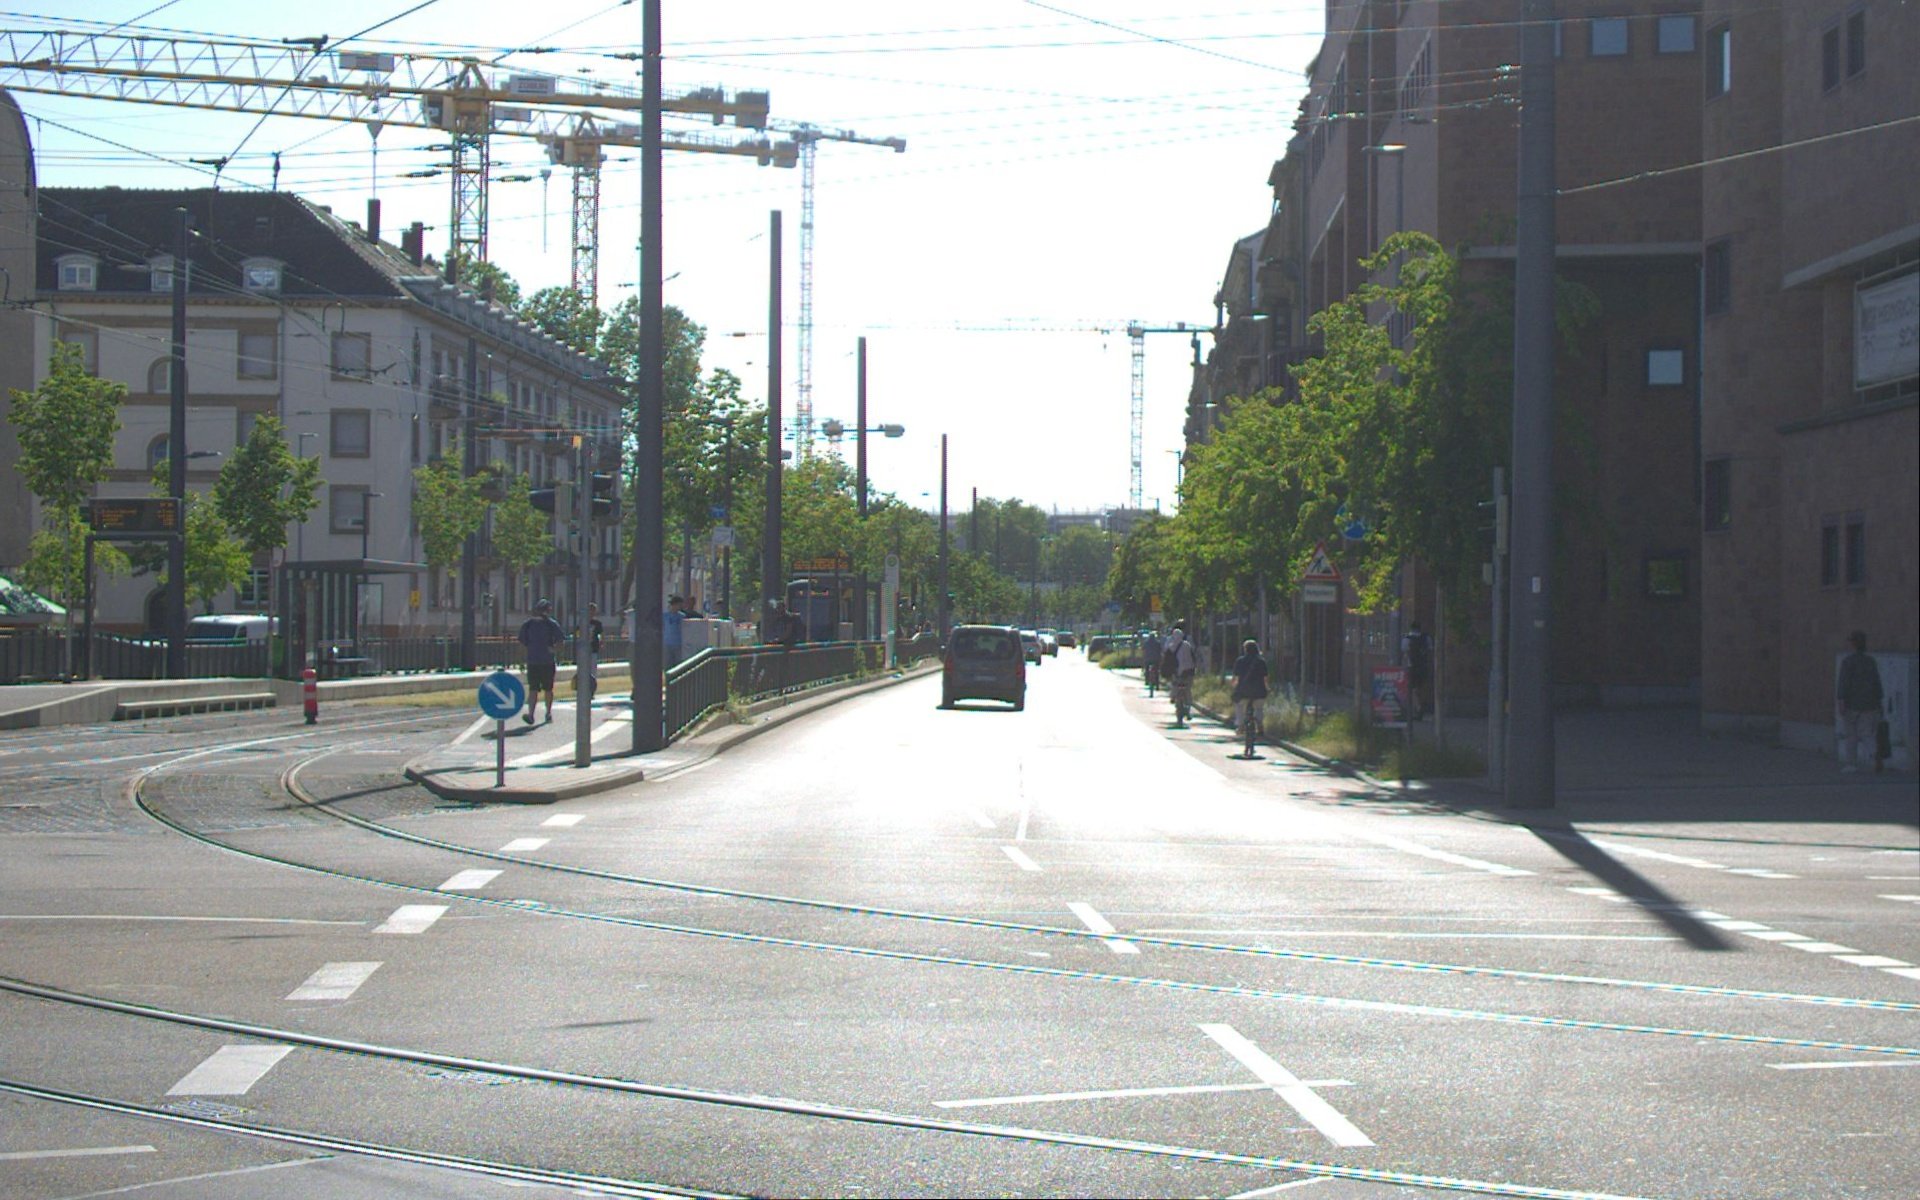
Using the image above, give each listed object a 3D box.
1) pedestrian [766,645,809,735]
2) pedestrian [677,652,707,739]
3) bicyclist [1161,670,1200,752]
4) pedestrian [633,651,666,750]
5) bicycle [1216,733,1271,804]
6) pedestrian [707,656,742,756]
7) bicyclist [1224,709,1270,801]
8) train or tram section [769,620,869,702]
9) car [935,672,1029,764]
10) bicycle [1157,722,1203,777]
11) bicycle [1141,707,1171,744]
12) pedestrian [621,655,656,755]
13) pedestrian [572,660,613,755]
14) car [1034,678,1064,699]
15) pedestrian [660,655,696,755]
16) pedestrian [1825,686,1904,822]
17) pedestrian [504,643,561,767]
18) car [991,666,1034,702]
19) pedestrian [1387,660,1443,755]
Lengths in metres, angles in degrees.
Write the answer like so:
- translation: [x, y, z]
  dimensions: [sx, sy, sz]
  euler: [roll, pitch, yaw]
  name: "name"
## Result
- translation: [-3.349, 1.745, 66.733]
  dimensions: [0.716, 1.729, 0.602]
  euler: [0, -2, -17]
  name: "pedestrian"
- translation: [-5.155, 1.834, 66.098]
  dimensions: [0.538, 1.649, 0.633]
  euler: [0, -2, 0]
  name: "pedestrian"
- translation: [4.124, 2.066, 64.208]
  dimensions: [0.667, 1.522, 0.707]
  euler: [0, -2, 0]
  name: "bicyclist"
- translation: [-5.545, 1.792, 61.426]
  dimensions: [0.538, 1.768, 0.633]
  euler: [0, -2, 0]
  name: "pedestrian"
- translation: [4.203, 2.487, 51.010]
  dimensions: [0.603, 0.982, 2.314]
  euler: [0, -2, 0]
  name: "bicycle"
- translation: [-3.915, 1.764, 57.191]
  dimensions: [0.538, 1.649, 0.706]
  euler: [0, -2, 0]
  name: "pedestrian"
- translation: [4.208, 2.267, 50.461]
  dimensions: [0.592, 1.331, 0.933]
  euler: [0, -2, 0]
  name: "bicyclist"
- translation: [-5.434, 2.401, 134.798]
  dimensions: [2.327, 2.993, 13.156]
  euler: [1, -1, 4]
  name: "train or tram section"
- translation: [0.459, 2.553, 74.993]
  dimensions: [1.993, 1.941, 4.000]
  euler: [0, -2, 0]
  name: "car"
- translation: [4.115, 2.788, 64.357]
  dimensions: [0.667, 0.982, 2.586]
  euler: [0, -1, 0]
  name: "bicycle"
- translation: [5.393, 3.446, 94.730]
  dimensions: [0.667, 0.982, 2.586]
  euler: [0, -1, 0]
  name: "bicycle"
- translation: [-5.322, 1.732, 56.867]
  dimensions: [0.510, 1.649, 0.761]
  euler: [0, -2, 0]
  name: "pedestrian"
- translation: [-6.134, 1.791, 57.383]
  dimensions: [0.600, 1.561, 0.914]
  euler: [0, -2, 0]
  name: "pedestrian"
- translation: [5.979, 5.906, 230.065]
  dimensions: [1.993, 1.415, 3.999]
  euler: [0, -1, 1]
  name: "car"
- translation: [-4.684, 1.747, 57.141]
  dimensions: [0.538, 1.649, 0.896]
  euler: [0, -2, 0]
  name: "pedestrian"
- translation: [10.458, 1.771, 39.770]
  dimensions: [0.617, 1.558, 0.987]
  euler: [0, -2, -1]
  name: "pedestrian"
- translation: [-5.915, 1.447, 47.598]
  dimensions: [0.614, 1.663, 0.864]
  euler: [-3, -1, -1]
  name: "pedestrian"
- translation: [2.548, 4.095, 167.653]
  dimensions: [1.993, 1.722, 4.000]
  euler: [0, -1, -1]
  name: "car"
- translation: [8.224, 1.936, 62.136]
  dimensions: [0.880, 1.711, 0.931]
  euler: [0, -2, 0]
  name: "pedestrian"
